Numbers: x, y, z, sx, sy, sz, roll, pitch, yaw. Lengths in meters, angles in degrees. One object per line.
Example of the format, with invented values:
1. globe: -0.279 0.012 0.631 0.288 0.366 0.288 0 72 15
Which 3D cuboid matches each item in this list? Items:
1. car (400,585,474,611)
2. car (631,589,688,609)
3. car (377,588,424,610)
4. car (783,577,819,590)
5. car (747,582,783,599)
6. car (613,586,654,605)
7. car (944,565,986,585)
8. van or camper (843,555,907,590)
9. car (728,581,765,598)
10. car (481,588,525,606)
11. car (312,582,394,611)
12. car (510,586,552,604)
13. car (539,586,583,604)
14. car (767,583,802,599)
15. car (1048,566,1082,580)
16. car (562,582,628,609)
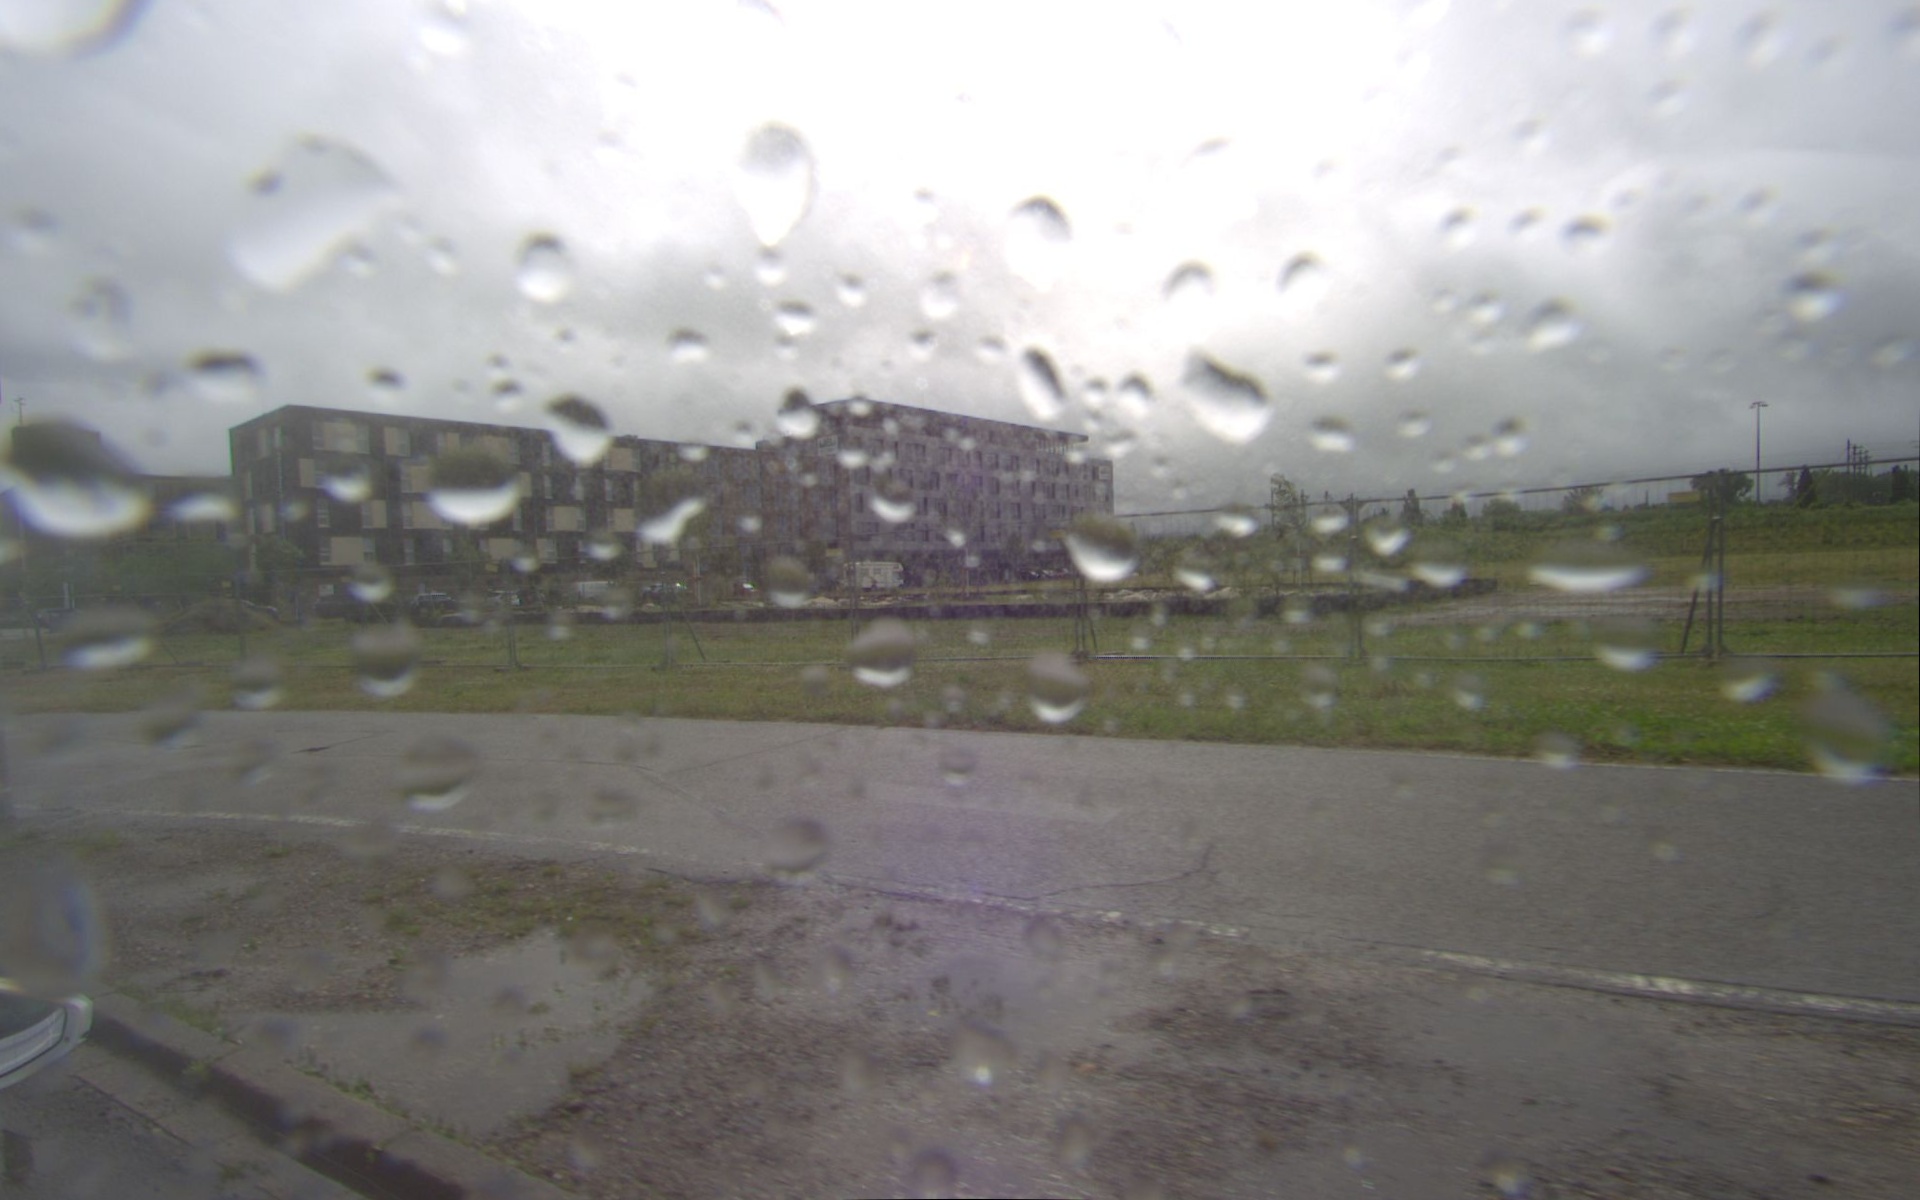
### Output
1. car: -35.001 -0.126 67.040 1.973 1.662 3.976 0 -1 35
2. car: -24.235 -0.094 80.739 1.975 1.433 3.969 0 1 38
3. car: -41.829 -0.050 74.887 3.795 1.548 1.773 -1 -1 38
4. car: -16.812 -1.709 105.998 3.855 1.313 1.541 -1 -1 38
5. car: -19.827 -0.972 101.761 3.795 1.636 1.538 -1 -1 38
6. car: -29.286 -0.385 89.787 3.795 1.636 1.773 -1 -1 38
7. car: 0.569 -2.678 108.194 1.978 2.040 4.771 0 -1 42
8. van or camper: -8.416 -2.694 99.852 2.499 3.243 6.750 0 -1 39
9. car: -21.263 -1.006 99.748 3.795 1.636 1.538 -1 -1 38
10. car: -36.988 -0.217 80.993 3.760 1.413 1.756 -1 -1 38
11. car: -38.009 -0.197 62.795 1.973 1.750 3.976 0 -1 35
12. car: -35.451 -0.394 82.756 3.736 1.414 1.631 -2 -1 39
13. car: -33.692 -0.409 84.514 3.795 1.413 1.773 -1 -1 38
14. car: -18.230 -0.936 103.875 3.795 1.636 1.538 -1 -1 38
15. car: 14.231 -3.586 135.487 4.320 1.709 1.785 -1 -1 42
16. car: -27.744 -0.309 76.296 1.976 1.794 4.307 0 -3 40
